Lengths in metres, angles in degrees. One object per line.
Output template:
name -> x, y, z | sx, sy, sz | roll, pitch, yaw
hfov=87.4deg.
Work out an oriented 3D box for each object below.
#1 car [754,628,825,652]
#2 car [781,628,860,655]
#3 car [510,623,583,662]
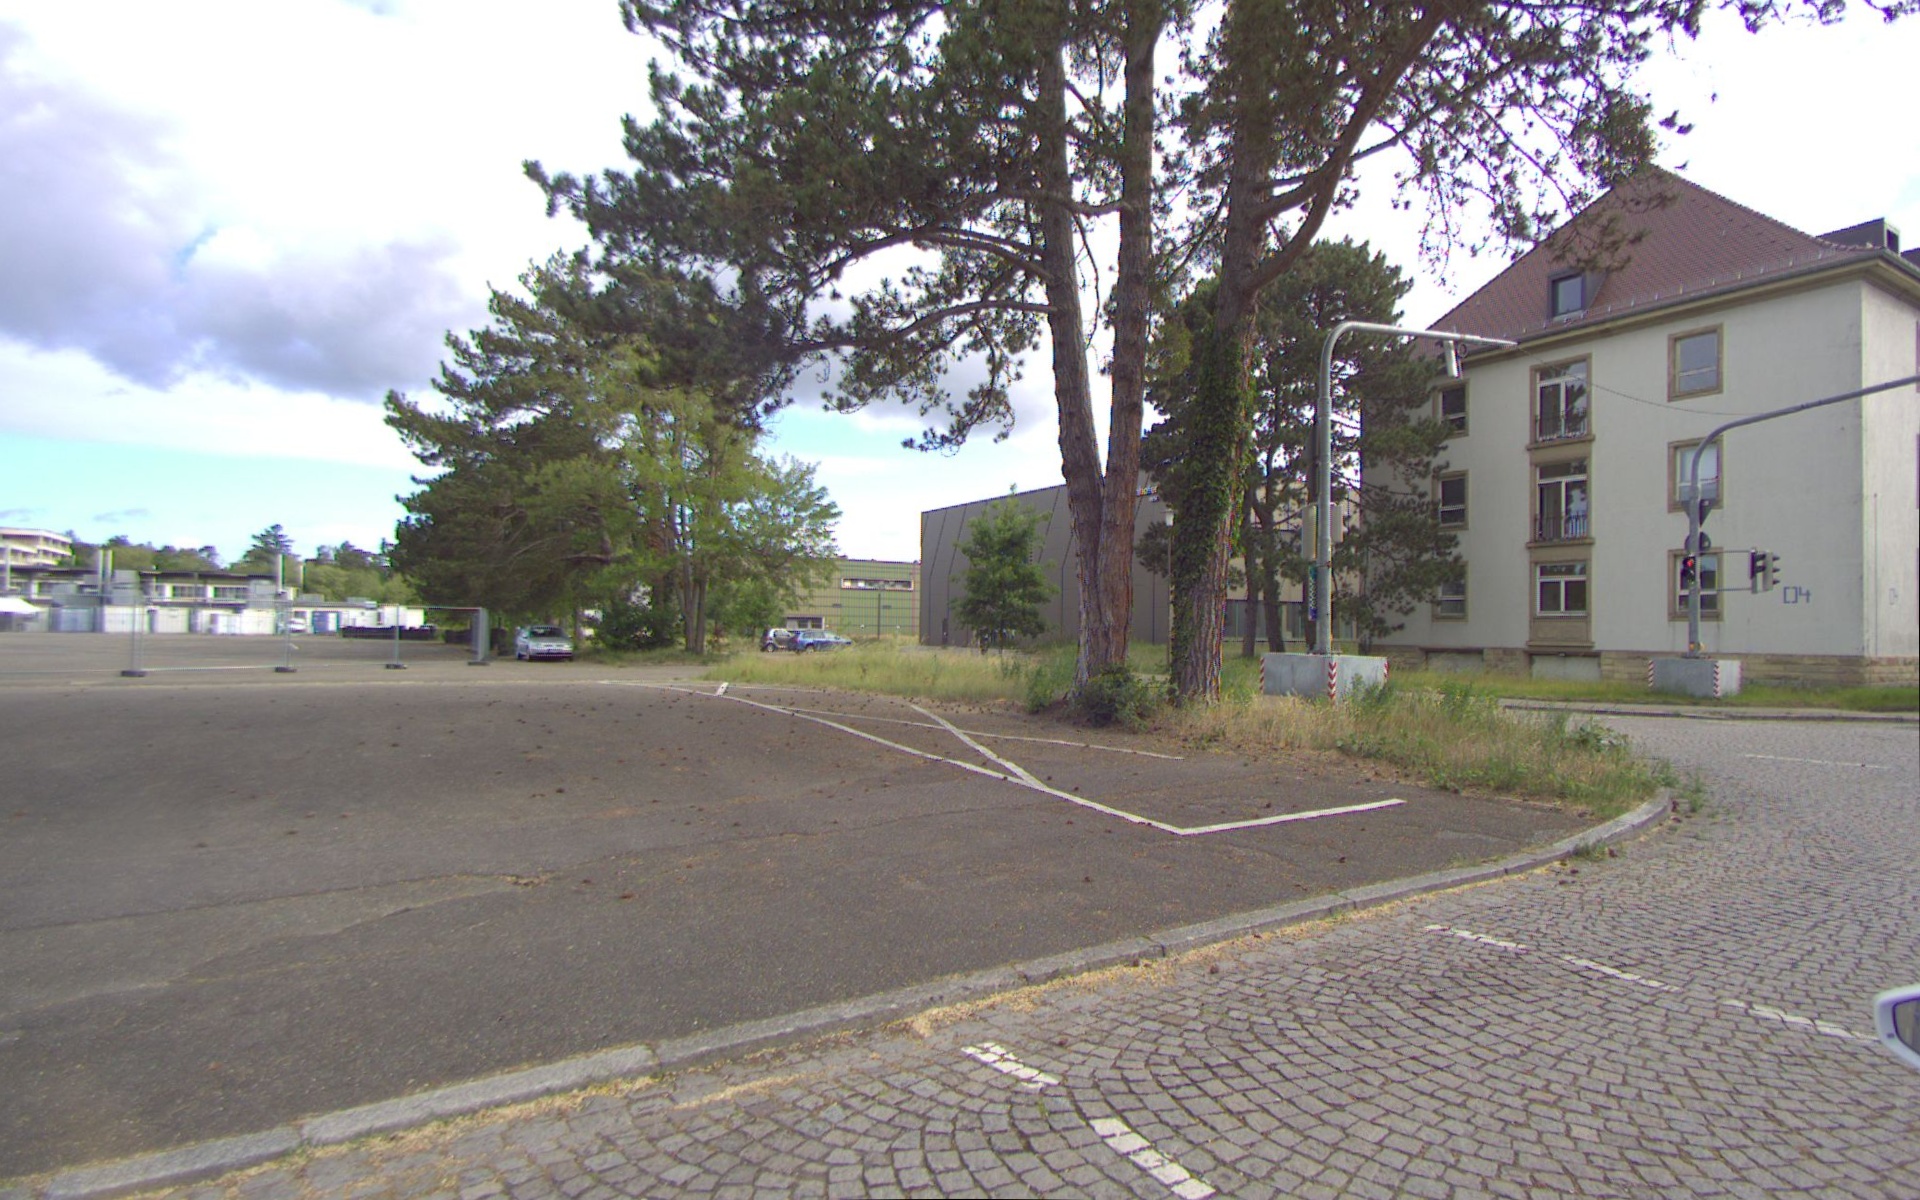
car -> -11.788, 2.722, 69.534 | 4.480, 1.552, 1.983 | 0, -1, -31
car -> -8.692, 2.563, 62.786 | 4.487, 1.552, 1.981 | 0, -1, -35
car -> -16.759, 1.681, 40.573 | 1.905, 1.496, 4.328 | 2, -2, -34
